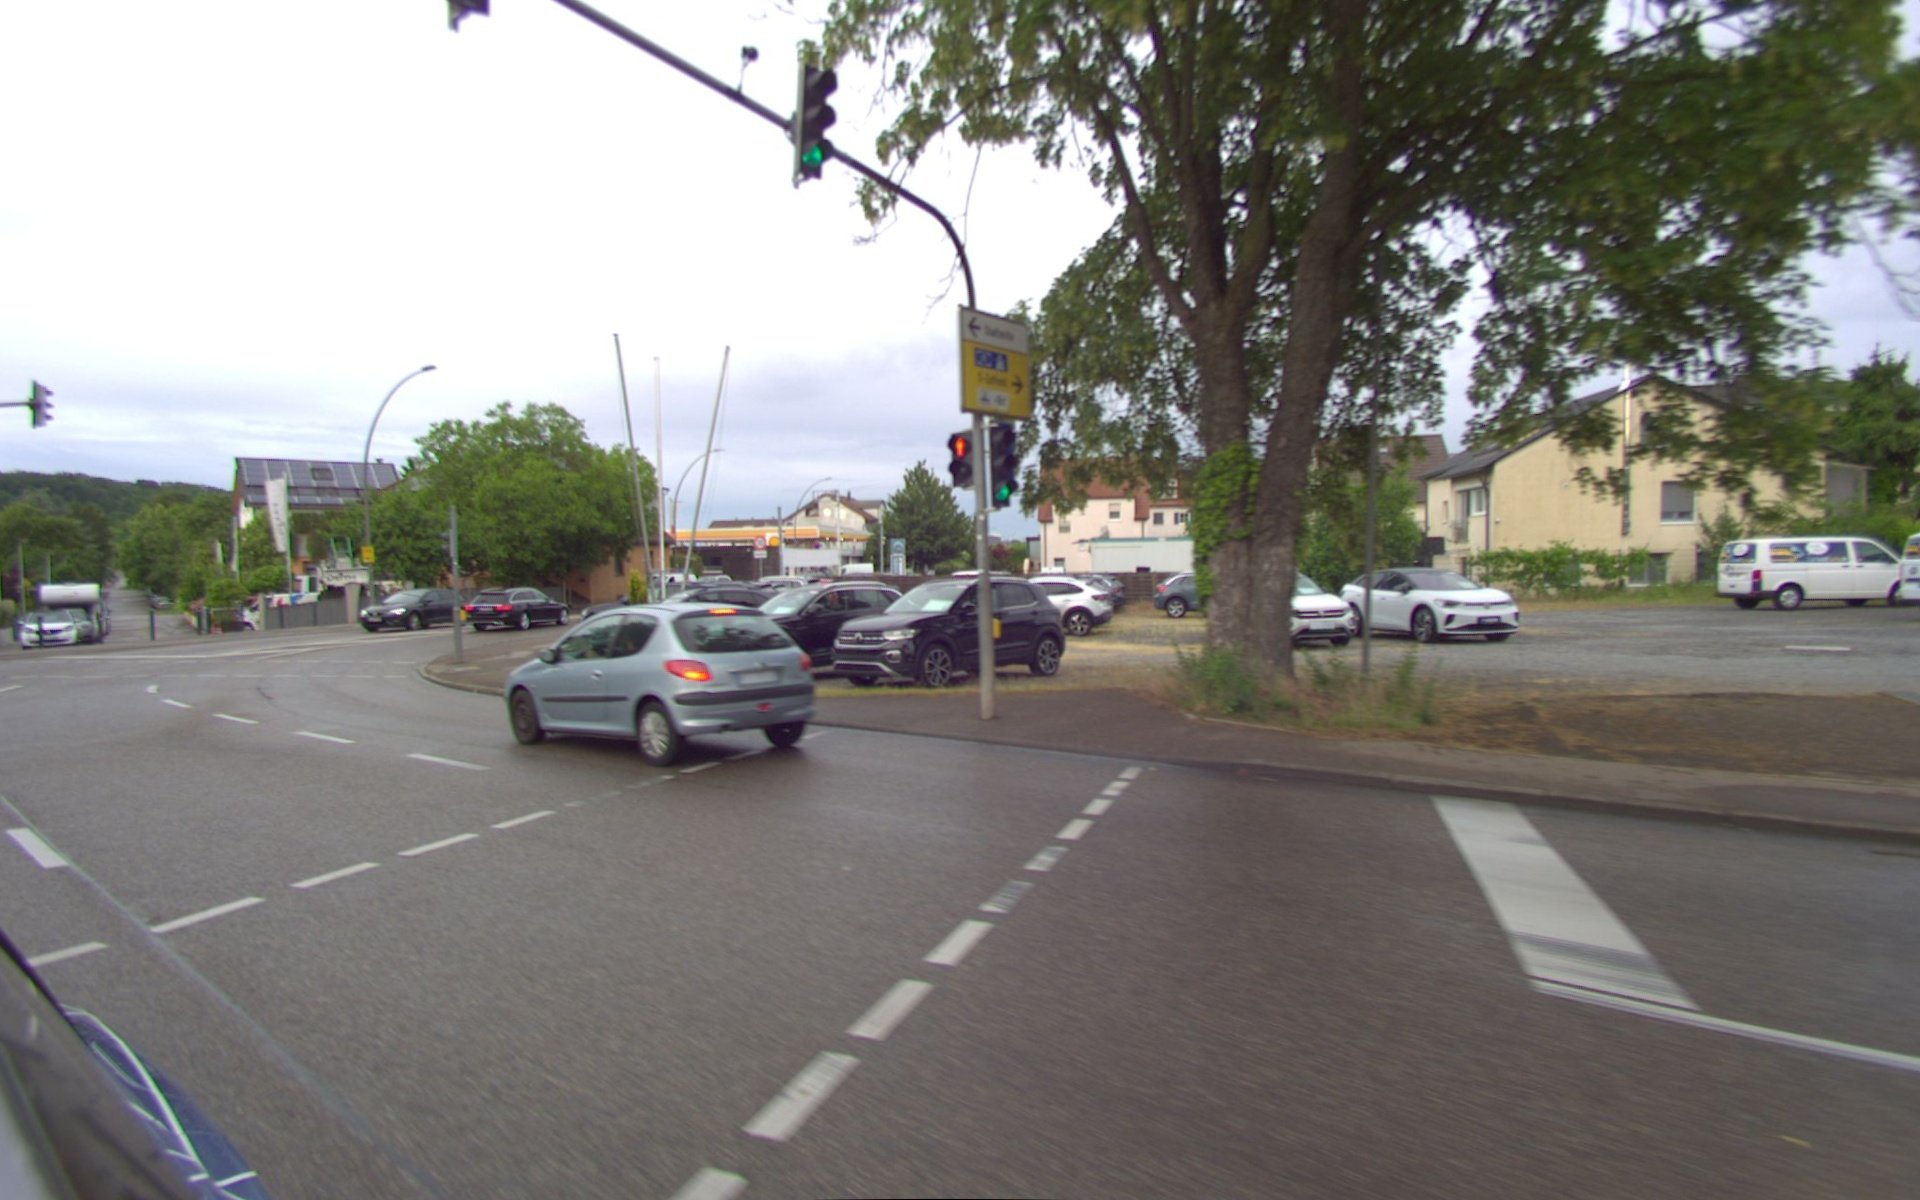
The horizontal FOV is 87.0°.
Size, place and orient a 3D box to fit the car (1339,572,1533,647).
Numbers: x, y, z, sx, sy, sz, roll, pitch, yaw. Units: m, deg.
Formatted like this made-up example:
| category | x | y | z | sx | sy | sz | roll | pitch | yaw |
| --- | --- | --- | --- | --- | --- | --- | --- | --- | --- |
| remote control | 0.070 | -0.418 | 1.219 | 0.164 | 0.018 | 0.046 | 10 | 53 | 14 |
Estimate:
| category | x | y | z | sx | sy | sz | roll | pitch | yaw |
| --- | --- | --- | --- | --- | --- | --- | --- | --- | --- |
| car | 10.281 | 0.188 | 22.218 | 1.800 | 1.425 | 4.019 | -2 | 0 | -11 |

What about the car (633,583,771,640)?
| category | x | y | z | sx | sy | sz | roll | pitch | yaw |
| --- | --- | --- | --- | --- | --- | --- | --- | --- | --- |
| car | -7.737 | 0.322 | 30.505 | 3.723 | 1.562 | 1.593 | -2 | 1 | 1 |

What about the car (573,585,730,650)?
| category | x | y | z | sx | sy | sz | roll | pitch | yaw |
| --- | --- | --- | --- | --- | --- | --- | --- | --- | --- |
| car | -8.219 | 0.453 | 27.195 | 3.721 | 1.562 | 1.593 | -2 | 1 | -1 |

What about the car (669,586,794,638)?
| category | x | y | z | sx | sy | sz | roll | pitch | yaw |
| --- | --- | --- | --- | --- | --- | --- | --- | --- | --- |
| car | -7.497 | 0.366 | 33.437 | 3.723 | 1.562 | 1.593 | -2 | 1 | 1 |

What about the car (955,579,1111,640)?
| category | x | y | z | sx | sy | sz | roll | pitch | yaw |
| --- | --- | --- | --- | --- | --- | --- | --- | --- | --- |
| car | 2.001 | 0.250 | 27.164 | 3.999 | 1.463 | 1.785 | -2 | 1 | 10 |

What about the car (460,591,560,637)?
| category | x | y | z | sx | sy | sz | roll | pitch | yaw |
| --- | --- | --- | --- | --- | --- | --- | --- | --- | --- |
| car | -15.807 | 0.455 | 35.746 | 1.746 | 1.438 | 3.999 | 1 | 2 | 1 |

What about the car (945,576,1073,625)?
| category | x | y | z | sx | sy | sz | roll | pitch | yaw |
| --- | --- | --- | --- | --- | --- | --- | --- | --- | --- |
| car | 1.654 | 0.011 | 33.291 | 3.999 | 1.463 | 1.785 | -2 | 1 | 10 |

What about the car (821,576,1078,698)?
| category | x | y | z | sx | sy | sz | roll | pitch | yaw |
| --- | --- | --- | --- | --- | --- | --- | --- | --- | --- |
| car | -0.055 | 0.471 | 15.378 | 1.673 | 1.579 | 3.841 | -2 | 0 | 44 |

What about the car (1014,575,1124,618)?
| category | x | y | z | sx | sy | sz | roll | pitch | yaw |
| --- | --- | --- | --- | --- | --- | --- | --- | --- | --- |
| car | 4.136 | -0.127 | 38.139 | 3.999 | 1.463 | 1.785 | -2 | 1 | 10 |

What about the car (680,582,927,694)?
| category | x | y | z | sx | sy | sz | roll | pitch | yaw |
| --- | --- | --- | --- | --- | --- | --- | --- | --- | --- |
| car | -2.519 | 0.550 | 16.763 | 3.713 | 1.579 | 1.674 | -2 | 0 | -43 |

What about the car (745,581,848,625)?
| category | x | y | z | sx | sy | sz | roll | pitch | yaw |
| --- | --- | --- | --- | --- | --- | --- | --- | --- | --- |
| car | -6.375 | 0.106 | 39.610 | 3.723 | 1.562 | 1.593 | -2 | 1 | 1 |

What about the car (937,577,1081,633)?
| category | x | y | z | sx | sy | sz | roll | pitch | yaw |
| --- | --- | --- | --- | --- | --- | --- | --- | --- | --- |
| car | 1.468 | 0.145 | 29.568 | 3.999 | 1.463 | 1.785 | -2 | 1 | 10 |

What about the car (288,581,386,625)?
| category | x | y | z | sx | sy | sz | roll | pitch | yaw |
| --- | --- | --- | --- | --- | --- | --- | --- | --- | --- |
| car | -31.576 | 0.128 | 51.327 | 4.177 | 2.120 | 1.765 | 1 | 2 | 10 |

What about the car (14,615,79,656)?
| category | x | y | z | sx | sy | sz | roll | pitch | yaw |
| --- | --- | --- | --- | --- | --- | --- | --- | --- | --- |
| car | -36.171 | 1.396 | 40.047 | 1.744 | 1.479 | 4.003 | -2 | 0 | -44 |

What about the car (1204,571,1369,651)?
| category | x | y | z | sx | sy | sz | roll | pitch | yaw |
| --- | --- | --- | --- | --- | --- | --- | --- | --- | --- |
| car | 6.896 | 0.195 | 21.845 | 1.762 | 1.521 | 4.051 | -2 | 1 | -8 |

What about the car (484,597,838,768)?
| category | x | y | z | sx | sy | sz | roll | pitch | yaw |
| --- | --- | --- | --- | --- | --- | --- | --- | --- | --- |
| car | -3.100 | 0.716 | 10.147 | 3.699 | 1.391 | 1.629 | -2 | -1 | 40 |

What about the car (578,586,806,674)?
| category | x | y | z | sx | sy | sz | roll | pitch | yaw |
| --- | --- | --- | --- | --- | --- | --- | --- | --- | --- |
| car | -5.346 | 0.525 | 20.378 | 4.090 | 1.521 | 1.677 | -2 | 2 | -33 |

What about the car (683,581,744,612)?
| category | x | y | z | sx | sy | sz | roll | pitch | yaw |
| --- | --- | --- | --- | --- | --- | --- | --- | --- | --- |
| car | -15.933 | -0.241 | 65.652 | 2.031 | 1.877 | 4.906 | -2 | 0 | 10 |

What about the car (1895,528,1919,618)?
| category | x | y | z | sx | sy | sz | roll | pitch | yaw |
| --- | --- | --- | --- | --- | --- | --- | --- | --- | --- |
| car | 23.588 | -0.664 | 21.760 | 4.813 | 2.002 | 1.957 | -2 | 0 | 7 |

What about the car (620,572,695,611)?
| category | x | y | z | sx | sy | sz | roll | pitch | yaw |
| --- | --- | --- | --- | --- | --- | --- | --- | --- | --- |
| car | -17.472 | -0.493 | 58.760 | 2.031 | 2.102 | 5.239 | -2 | 0 | 10 |

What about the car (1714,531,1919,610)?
| category | x | y | z | sx | sy | sz | roll | pitch | yaw |
| --- | --- | --- | --- | --- | --- | --- | --- | --- | --- |
| car | 23.778 | -0.792 | 28.095 | 4.220 | 2.002 | 1.722 | -2 | 0 | 6 |

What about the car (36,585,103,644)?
| category | x | y | z | sx | sy | sz | roll | pitch | yaw |
| --- | --- | --- | --- | --- | --- | --- | --- | --- | --- |
| car | -46.983 | 0.697 | 53.448 | 2.537 | 2.794 | 6.137 | -1 | 2 | -41 |

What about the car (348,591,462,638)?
| category | x | y | z | sx | sy | sz | roll | pitch | yaw |
| --- | --- | --- | --- | --- | --- | --- | --- | --- | --- |
| car | -19.552 | 0.464 | 35.875 | 1.747 | 1.438 | 3.997 | 1 | 2 | 3 |

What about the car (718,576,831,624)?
| category | x | y | z | sx | sy | sz | roll | pitch | yaw |
| --- | --- | --- | --- | --- | --- | --- | --- | --- | --- |
| car | -6.642 | -0.002 | 36.423 | 3.723 | 1.562 | 1.593 | -2 | 1 | 1 |

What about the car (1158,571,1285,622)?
| category | x | y | z | sx | sy | sz | roll | pitch | yaw |
| --- | --- | --- | --- | --- | --- | --- | --- | --- | --- |
| car | 8.815 | -0.135 | 34.293 | 4.005 | 1.566 | 1.783 | -2 | 1 | 14 |

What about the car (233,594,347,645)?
| category | x | y | z | sx | sy | sz | roll | pitch | yaw |
| --- | --- | --- | --- | --- | --- | --- | --- | --- | --- |
| car | -30.363 | 0.861 | 45.888 | 4.338 | 2.120 | 1.764 | 1 | 2 | 12 |
